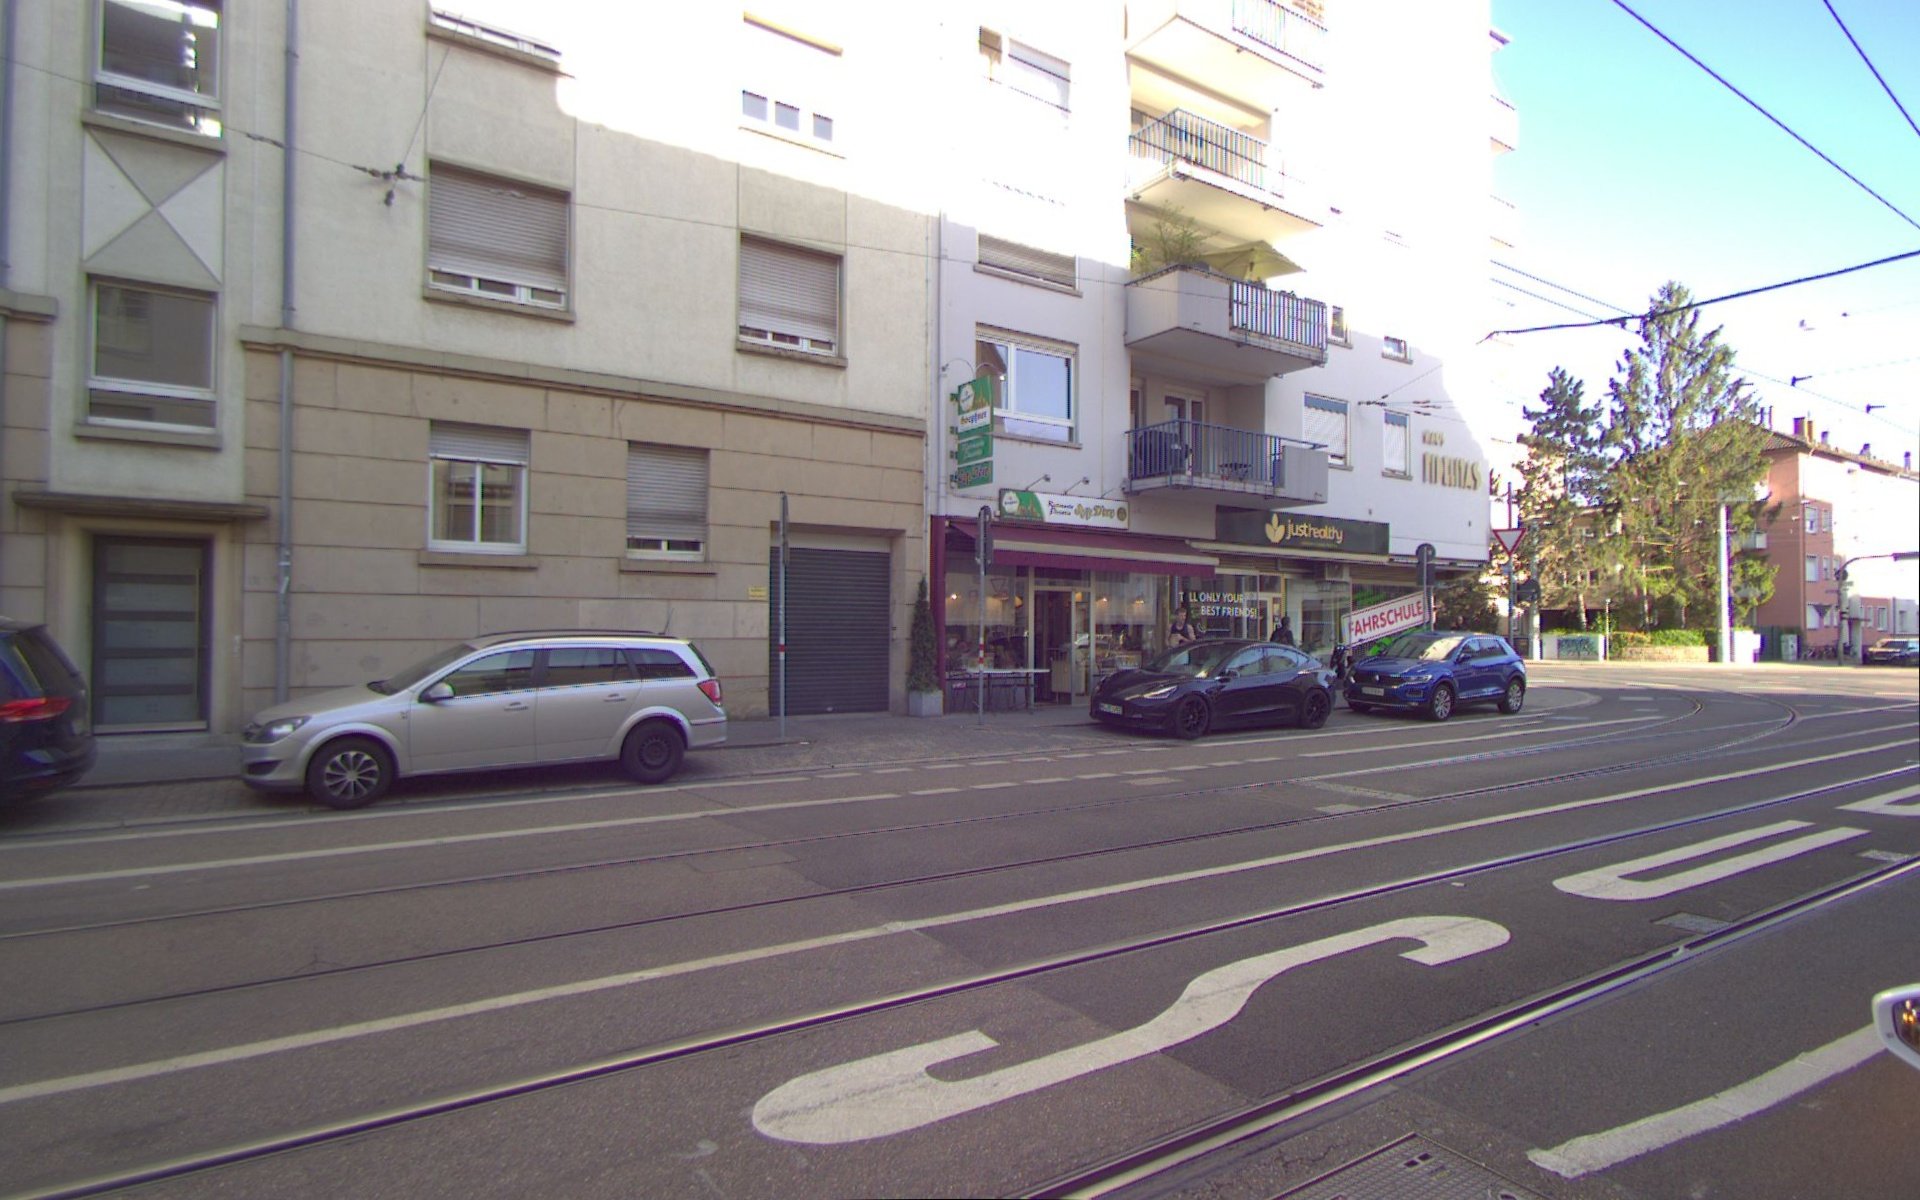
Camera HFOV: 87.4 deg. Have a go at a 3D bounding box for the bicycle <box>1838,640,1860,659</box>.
[{"bbox_3d":[53.153,2.937,60.021,1.892,1.097,0.605,1,-2,-37],"label":"bicycle"}]

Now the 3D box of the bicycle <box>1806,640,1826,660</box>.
[{"bbox_3d":[47.174,2.733,55.335,1.895,1.097,0.532,2,-2,-41],"label":"bicycle"}]

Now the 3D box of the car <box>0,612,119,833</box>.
[{"bbox_3d":[-8.996,0.878,7.183,4.343,1.620,1.785,1,-1,-34],"label":"car"}]

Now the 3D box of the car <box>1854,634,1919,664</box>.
[{"bbox_3d":[49.721,2.616,53.778,3.961,1.539,1.938,1,-2,-36],"label":"car"}]

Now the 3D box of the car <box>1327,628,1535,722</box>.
[{"bbox_3d":[8.989,1.344,19.077,4.072,1.525,1.714,1,1,-34],"label":"car"}]

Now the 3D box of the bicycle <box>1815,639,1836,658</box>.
[{"bbox_3d":[50.736,2.859,58.876,1.892,1.097,0.533,1,-2,-37],"label":"bicycle"}]

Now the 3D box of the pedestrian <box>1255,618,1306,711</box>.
[{"bbox_3d":[6.115,1.215,19.149,0.722,1.731,0.600,1,-2,-32],"label":"pedestrian"}]

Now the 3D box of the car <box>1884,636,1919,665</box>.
[{"bbox_3d":[54.269,2.840,57.008,4.006,1.539,1.938,1,-2,-36],"label":"car"}]

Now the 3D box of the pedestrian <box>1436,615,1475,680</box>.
[{"bbox_3d":[14.219,1.358,28.847,0.707,1.859,0.771,0,-1,-3],"label":"pedestrian"}]

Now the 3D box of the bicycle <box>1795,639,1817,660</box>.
[{"bbox_3d":[46.878,2.723,55.627,1.895,1.097,0.634,2,-2,-41],"label":"bicycle"}]

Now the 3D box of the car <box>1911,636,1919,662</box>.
[{"bbox_3d":[58.123,2.897,59.447,3.961,1.539,1.938,1,-2,-36],"label":"car"}]

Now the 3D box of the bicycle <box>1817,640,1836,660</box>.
[{"bbox_3d":[47.601,2.746,55.160,1.895,1.097,0.532,2,-2,-41],"label":"bicycle"}]

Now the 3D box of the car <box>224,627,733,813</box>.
[{"bbox_3d":[-4.709,1.048,10.205,4.343,1.497,1.785,1,-1,-34],"label":"car"}]

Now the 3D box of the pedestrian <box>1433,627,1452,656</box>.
[{"bbox_3d":[29.518,2.533,61.479,0.672,1.725,0.805,1,-2,-30],"label":"pedestrian"}]

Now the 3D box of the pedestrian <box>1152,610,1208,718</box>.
[{"bbox_3d":[3.937,1.123,17.975,0.746,1.882,0.665,1,-2,-35],"label":"pedestrian"}]

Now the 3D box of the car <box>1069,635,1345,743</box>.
[{"bbox_3d":[4.009,1.314,16.034,4.442,1.422,1.714,1,1,-34],"label":"car"}]
